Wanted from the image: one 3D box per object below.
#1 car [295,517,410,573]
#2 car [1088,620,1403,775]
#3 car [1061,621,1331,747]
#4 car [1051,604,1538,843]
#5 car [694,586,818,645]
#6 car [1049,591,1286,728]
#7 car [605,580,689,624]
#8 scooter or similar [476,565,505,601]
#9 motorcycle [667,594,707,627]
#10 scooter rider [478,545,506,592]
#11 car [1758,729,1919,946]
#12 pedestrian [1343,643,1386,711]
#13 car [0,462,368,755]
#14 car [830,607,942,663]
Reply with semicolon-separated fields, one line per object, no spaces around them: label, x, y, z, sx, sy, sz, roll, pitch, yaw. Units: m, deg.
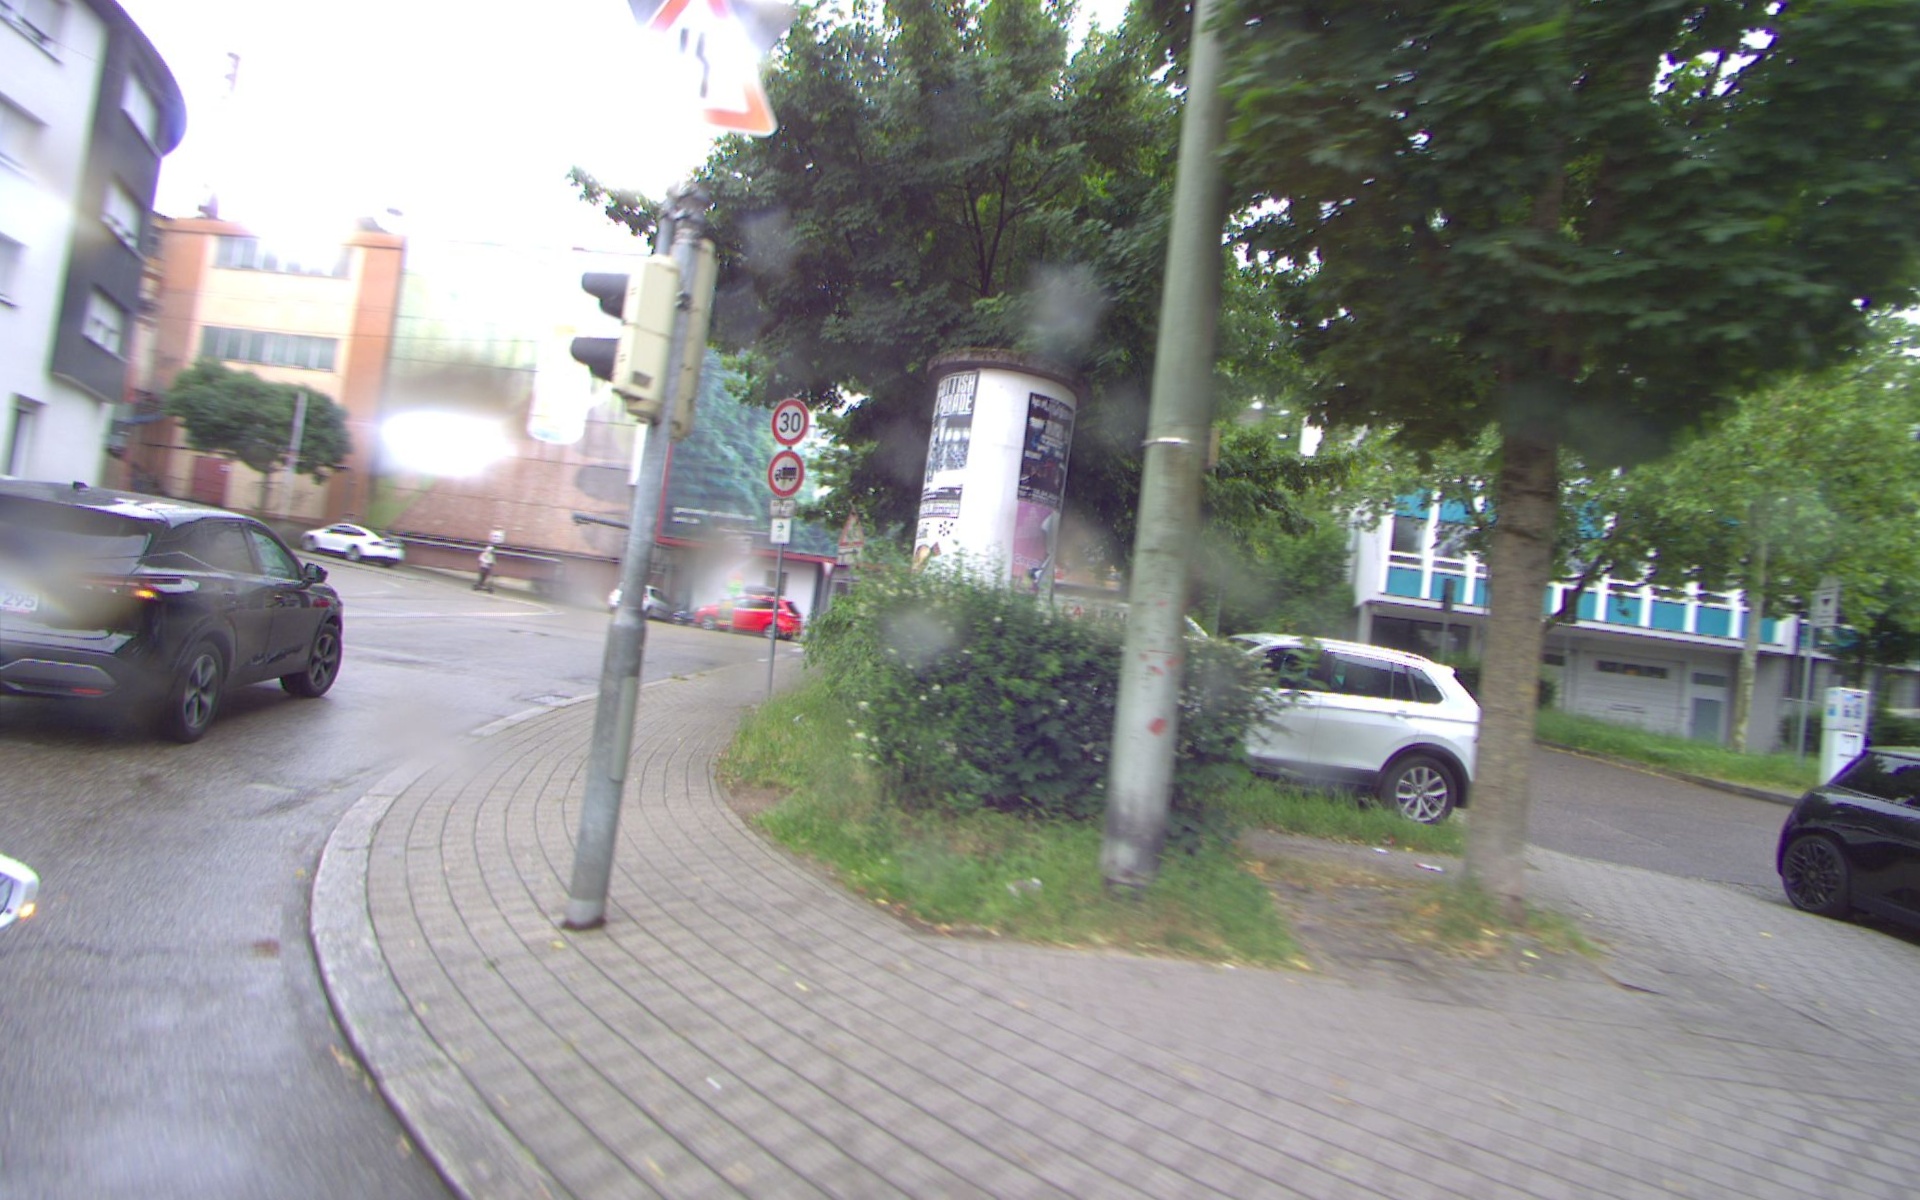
car;-28.725;-2.594;47.580;4.825;1.634;1.862;11;-2;20
car;4.213;1.422;15.273;4.136;1.641;1.636;8;0;-2
car;3.988;1.408;17.453;4.136;1.501;1.636;8;0;-2
car;3.152;1.141;10.037;4.136;1.641;1.636;8;0;-2
car;-8.342;0.646;41.333;4.406;1.730;1.936;8;-2;11
car;3.977;1.119;19.697;4.132;1.984;1.638;8;1;9
car;-13.674;0.131;44.165;1.840;1.551;3.995;8;-1;7
scooter or similar;-19.567;-0.713;41.906;0.797;1.338;1.397;8;-1;-33
motorcycle;-11.568;0.458;42.618;1.398;1.173;0.452;8;-3;-2
scooter rider;-19.512;-1.305;41.934;0.797;1.842;0.775;7;-1;-33
car;7.558;1.820;6.604;1.607;1.381;3.704;8;-2;2
pedestrian;10.770;2.049;26.794;0.706;1.723;0.675;5;0;-1
car;-6.258;0.017;7.701;1.859;1.611;3.911;9;-3;-16
car;-2.909;1.417;39.970;3.923;1.731;1.935;6;-2;11
